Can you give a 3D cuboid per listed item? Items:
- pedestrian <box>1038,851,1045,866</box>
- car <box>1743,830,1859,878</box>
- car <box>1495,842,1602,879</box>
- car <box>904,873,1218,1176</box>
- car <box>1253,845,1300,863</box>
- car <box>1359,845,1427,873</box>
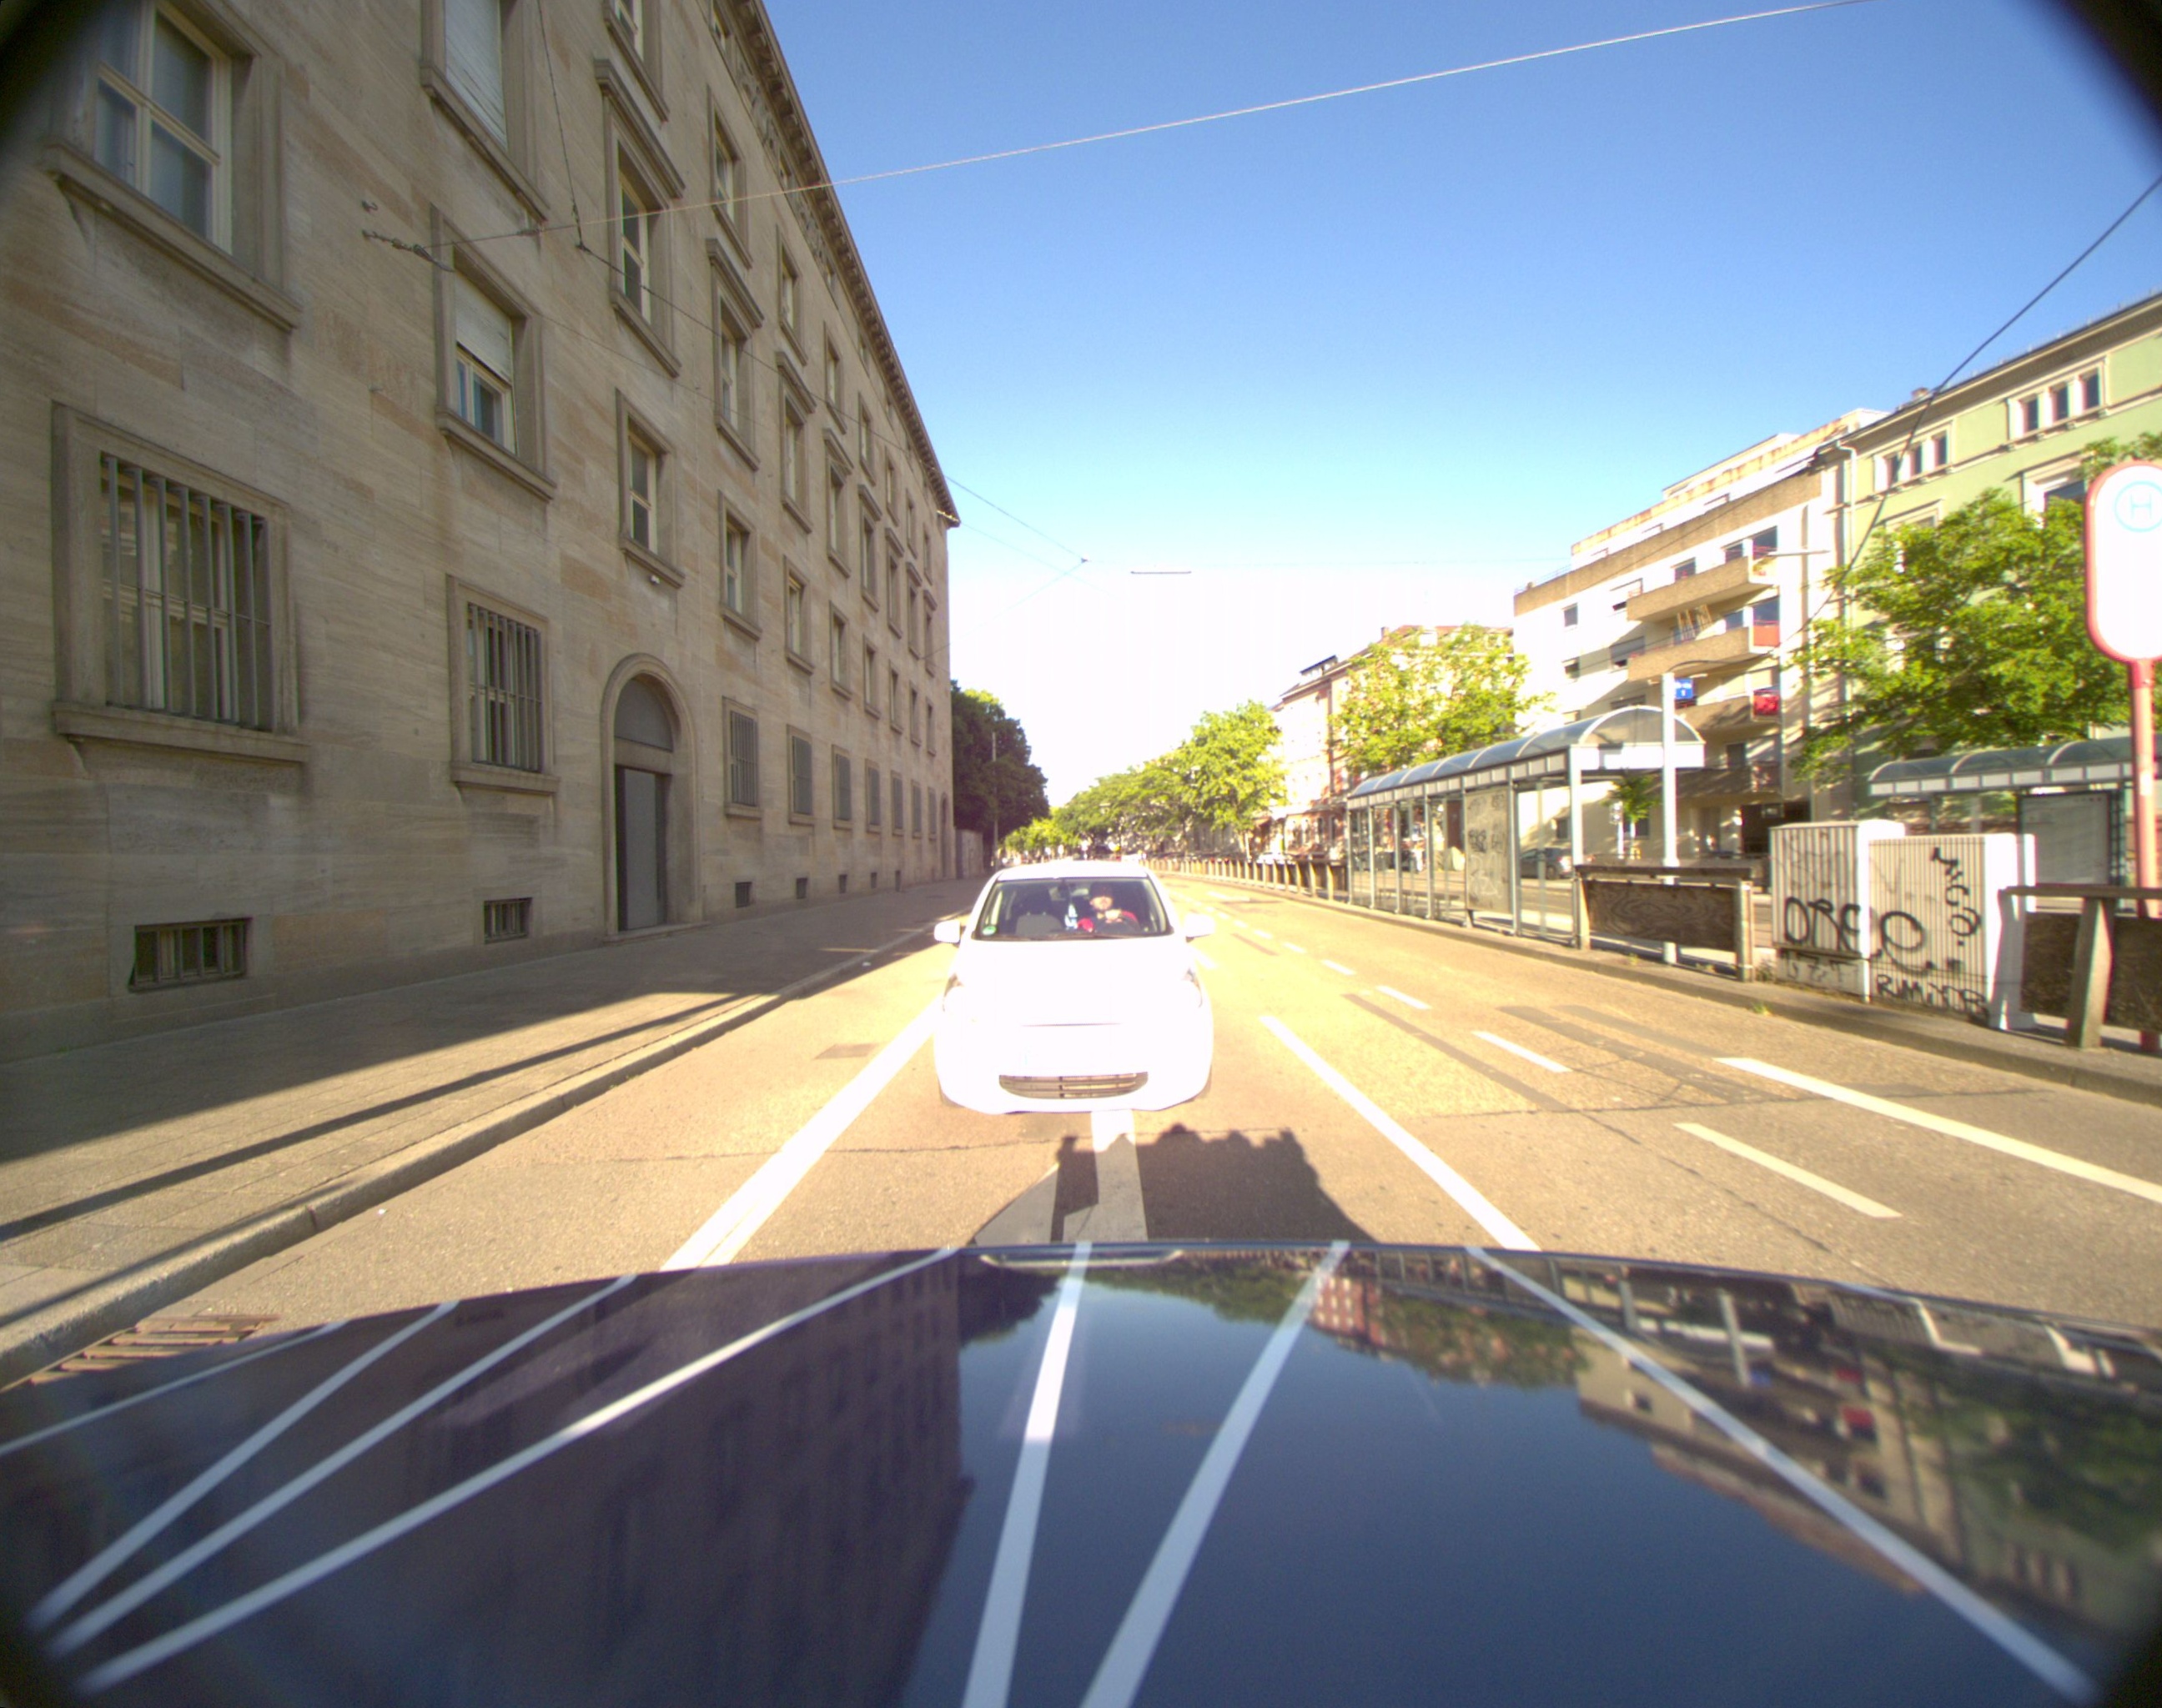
[{"bbox_3d":[-4.505,0.539,86.733,0.686,1.673,0.929,-1,1,7],"label":"pedestrian"},{"bbox_3d":[31.547,-0.015,33.317,4.001,2.002,1.798,-1,1,-13],"label":"car"},{"bbox_3d":[20.894,0.277,34.186,2.000,1.521,3.997,0,0,-8],"label":"car"},{"bbox_3d":[-0.081,0.940,5.787,1.606,1.455,3.621,-1,0,1],"label":"car"},{"bbox_3d":[16.295,0.003,63.279,3.648,1.342,1.578,-2,1,-29],"label":"car"},{"bbox_3d":[18.301,0.263,44.778,2.000,1.521,3.997,-1,0,-8],"label":"car"}]
